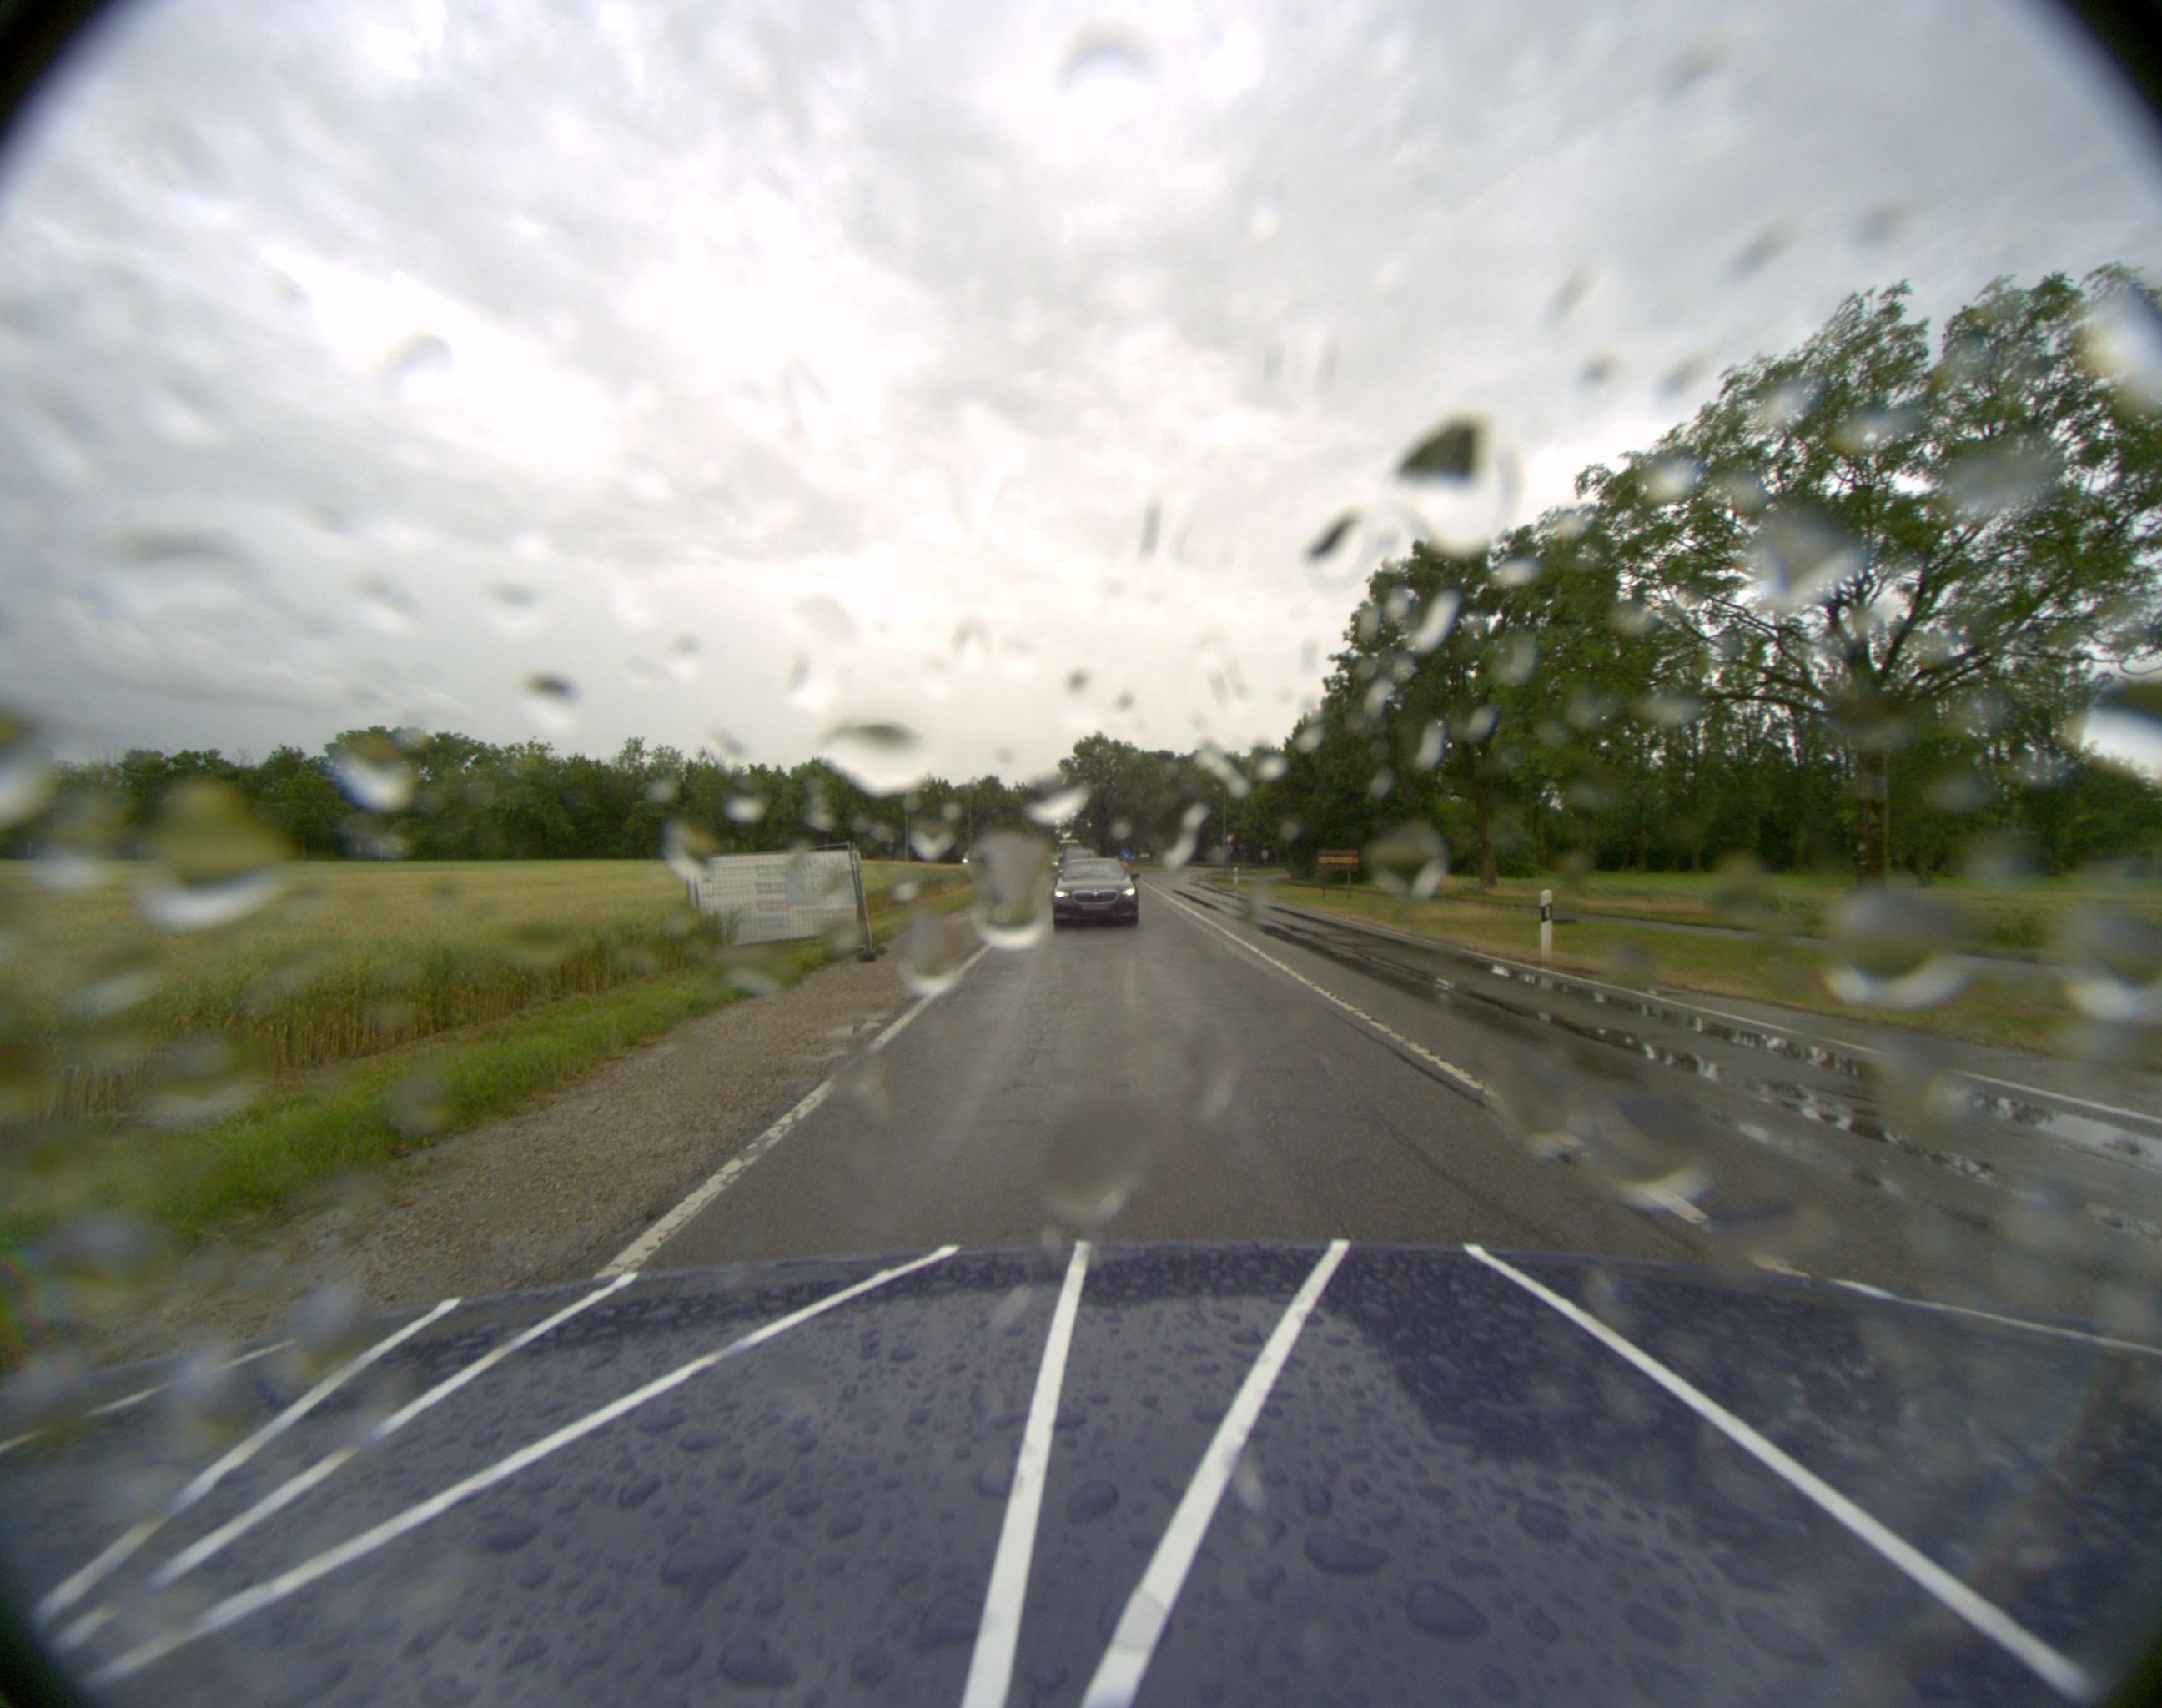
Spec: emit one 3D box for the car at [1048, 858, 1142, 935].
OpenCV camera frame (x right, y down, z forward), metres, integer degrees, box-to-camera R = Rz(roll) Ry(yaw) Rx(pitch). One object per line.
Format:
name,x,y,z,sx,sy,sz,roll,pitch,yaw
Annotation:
car,0.289,0.883,17.602,1.892,1.484,4.035,-1,0,0

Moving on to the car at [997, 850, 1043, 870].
car,-4.896,0.463,60.246,1.896,1.522,4.491,-2,0,-30

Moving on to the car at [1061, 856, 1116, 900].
car,0.239,0.859,28.617,1.892,1.482,4.192,-2,0,-1

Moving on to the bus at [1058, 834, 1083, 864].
bus,-1.221,-0.644,100.156,2.996,3.665,14.293,1,0,0

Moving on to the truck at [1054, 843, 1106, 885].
truck,-0.159,0.473,41.704,2.077,2.050,5.765,-2,1,-7

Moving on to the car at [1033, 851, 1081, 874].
car,-1.755,0.587,54.371,1.895,1.522,5.247,-1,0,-19

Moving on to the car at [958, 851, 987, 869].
car,-10.186,0.548,70.881,1.894,1.522,4.495,-1,0,-18
